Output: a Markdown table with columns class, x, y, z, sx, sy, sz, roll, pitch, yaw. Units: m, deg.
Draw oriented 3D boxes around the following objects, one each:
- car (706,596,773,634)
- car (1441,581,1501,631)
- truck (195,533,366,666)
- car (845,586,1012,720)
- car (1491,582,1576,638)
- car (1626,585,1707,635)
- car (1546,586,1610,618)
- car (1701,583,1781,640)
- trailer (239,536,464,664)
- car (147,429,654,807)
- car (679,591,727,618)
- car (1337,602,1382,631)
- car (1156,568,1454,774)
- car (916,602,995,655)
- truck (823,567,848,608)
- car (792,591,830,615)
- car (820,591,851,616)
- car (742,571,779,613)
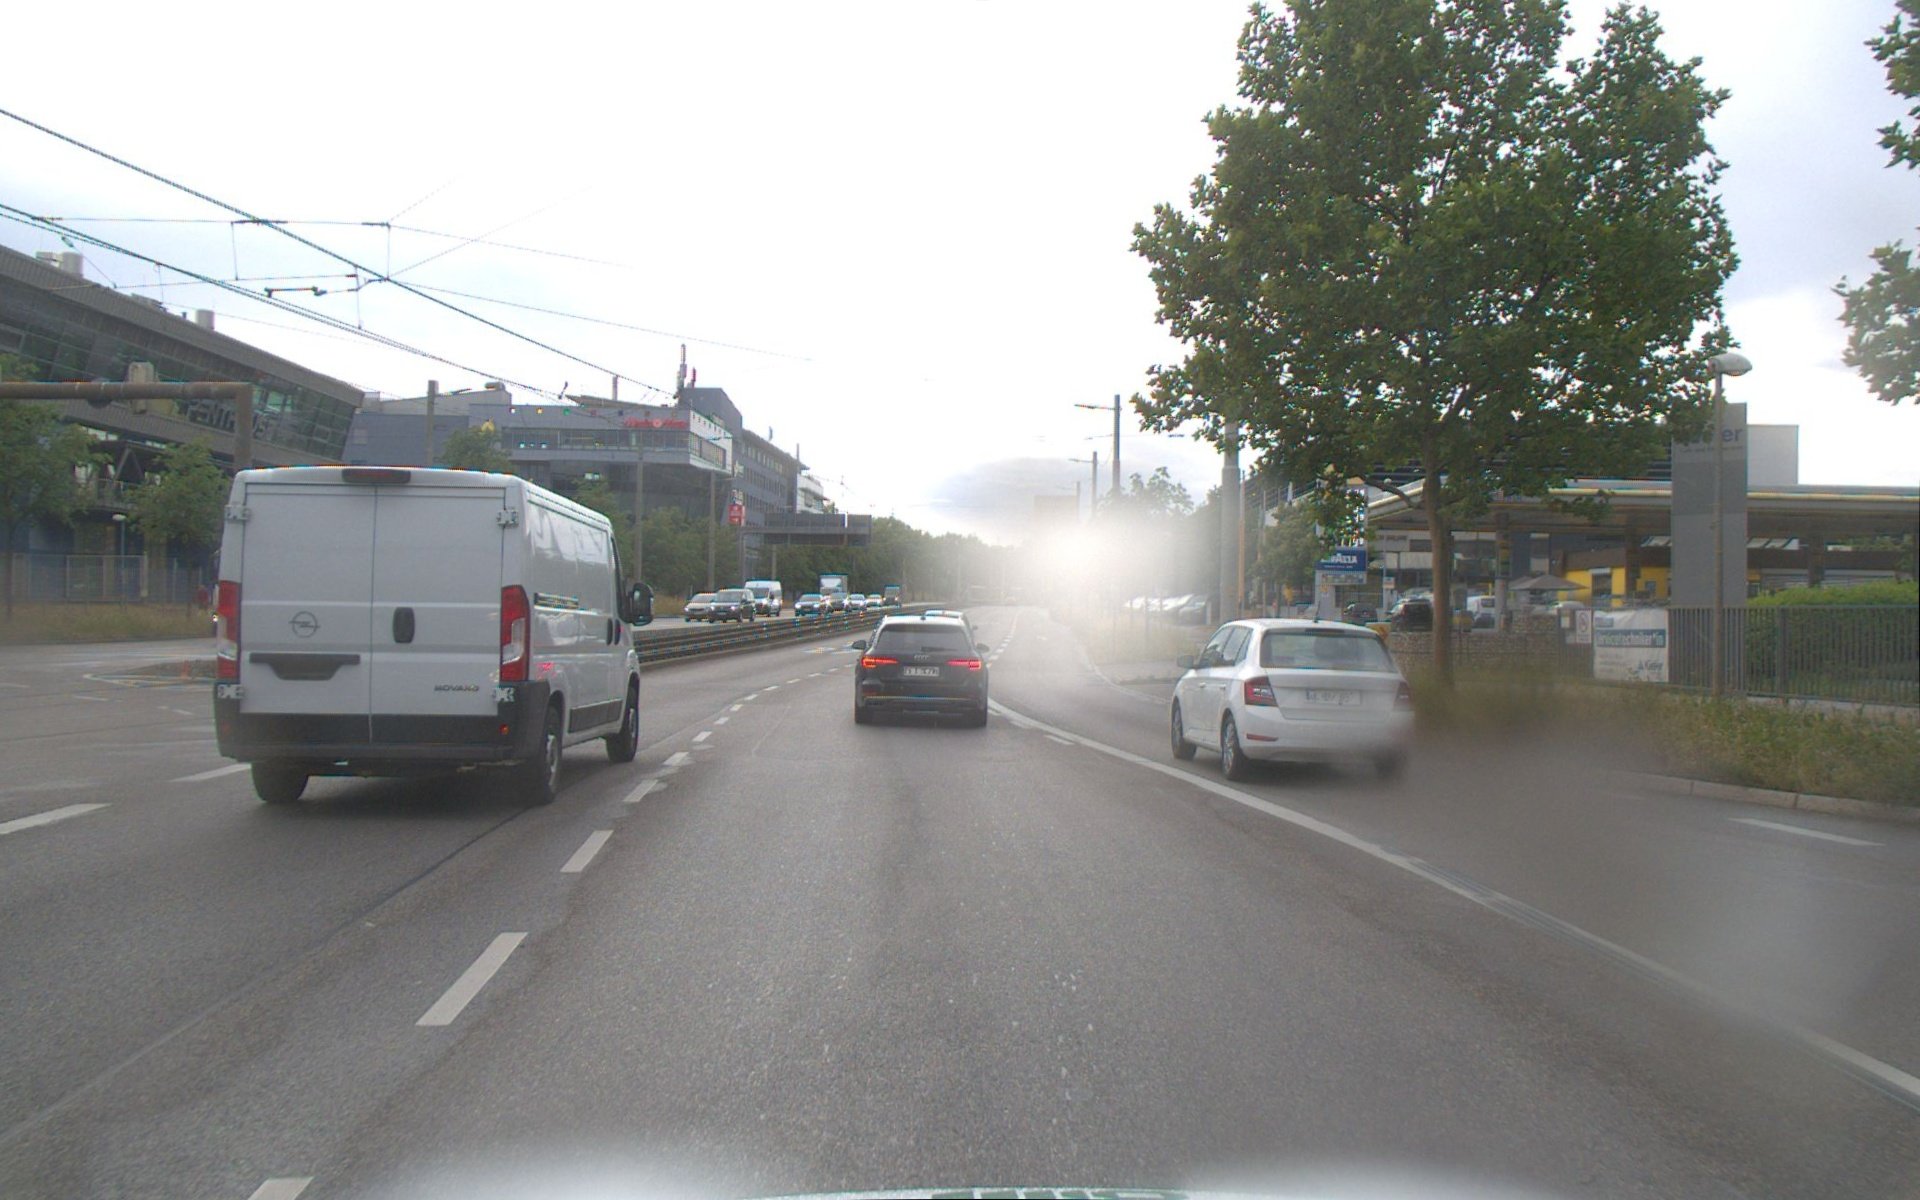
| class | x | y | z | sx | sy | sz | roll | pitch | yaw |
| --- | --- | --- | --- | --- | --- | --- | --- | --- | --- |
| car | -12.028 | 0.863 | 90.648 | 2.113 | 1.918 | 4.304 | 3 | 0 | 14 |
| car | 22.331 | 0.287 | 72.421 | 1.644 | 2.049 | 3.543 | 3 | 0 | 4 |
| truck | -20.911 | 0.027 | 51.228 | 2.688 | 3.872 | 5.414 | 0 | -1 | 5 |
| car | -0.522 | 0.674 | 22.761 | 1.955 | 1.666 | 3.995 | 1 | 0 | -6 |
| car | 21.884 | 0.372 | 63.298 | 1.952 | 2.068 | 4.001 | 0 | 0 | 2 |
| car | 31.132 | 0.447 | 73.007 | 1.832 | 2.049 | 3.773 | 3 | 0 | -1 |
| car | 32.028 | 0.070 | 85.786 | 1.952 | 1.624 | 4.001 | 0 | 0 | 2 |
| car | 30.295 | 0.451 | 64.264 | 1.640 | 2.049 | 3.138 | 3 | 0 | 2 |
| trailer | -20.434 | 0.094 | 56.543 | 2.667 | 3.922 | 11.235 | 0 | -1 | 5 |
| car | -3.926 | 0.153 | 12.747 | 2.396 | 2.334 | 4.901 | 0 | -1 | -3 |
| car | -15.132 | 0.270 | 97.488 | 2.114 | 1.532 | 4.302 | 1 | 0 | 1 |
| car | 23.161 | 0.930 | 95.999 | 1.754 | 1.619 | 4.001 | 1 | 0 | 2 |
| car | 3.171 | 0.623 | 16.036 | 1.793 | 1.685 | 3.997 | 2 | -1 | -4 |
| car | -0.084 | 0.852 | 50.067 | 1.853 | 1.491 | 3.912 | 1 | -1 | 7 |
| truck | -11.994 | -1.165 | 159.357 | 2.116 | 3.709 | 6.869 | 3 | 0 | -3 |
| car | -10.474 | 0.215 | 116.632 | 1.762 | 1.649 | 4.959 | 1 | 0 | 6 |
| car | -10.225 | 0.294 | 135.936 | 2.115 | 1.918 | 4.301 | 3 | 0 | 0 |
| car | -13.828 | -0.543 | 114.879 | 2.116 | 2.770 | 5.064 | 3 | 0 | -3 |
